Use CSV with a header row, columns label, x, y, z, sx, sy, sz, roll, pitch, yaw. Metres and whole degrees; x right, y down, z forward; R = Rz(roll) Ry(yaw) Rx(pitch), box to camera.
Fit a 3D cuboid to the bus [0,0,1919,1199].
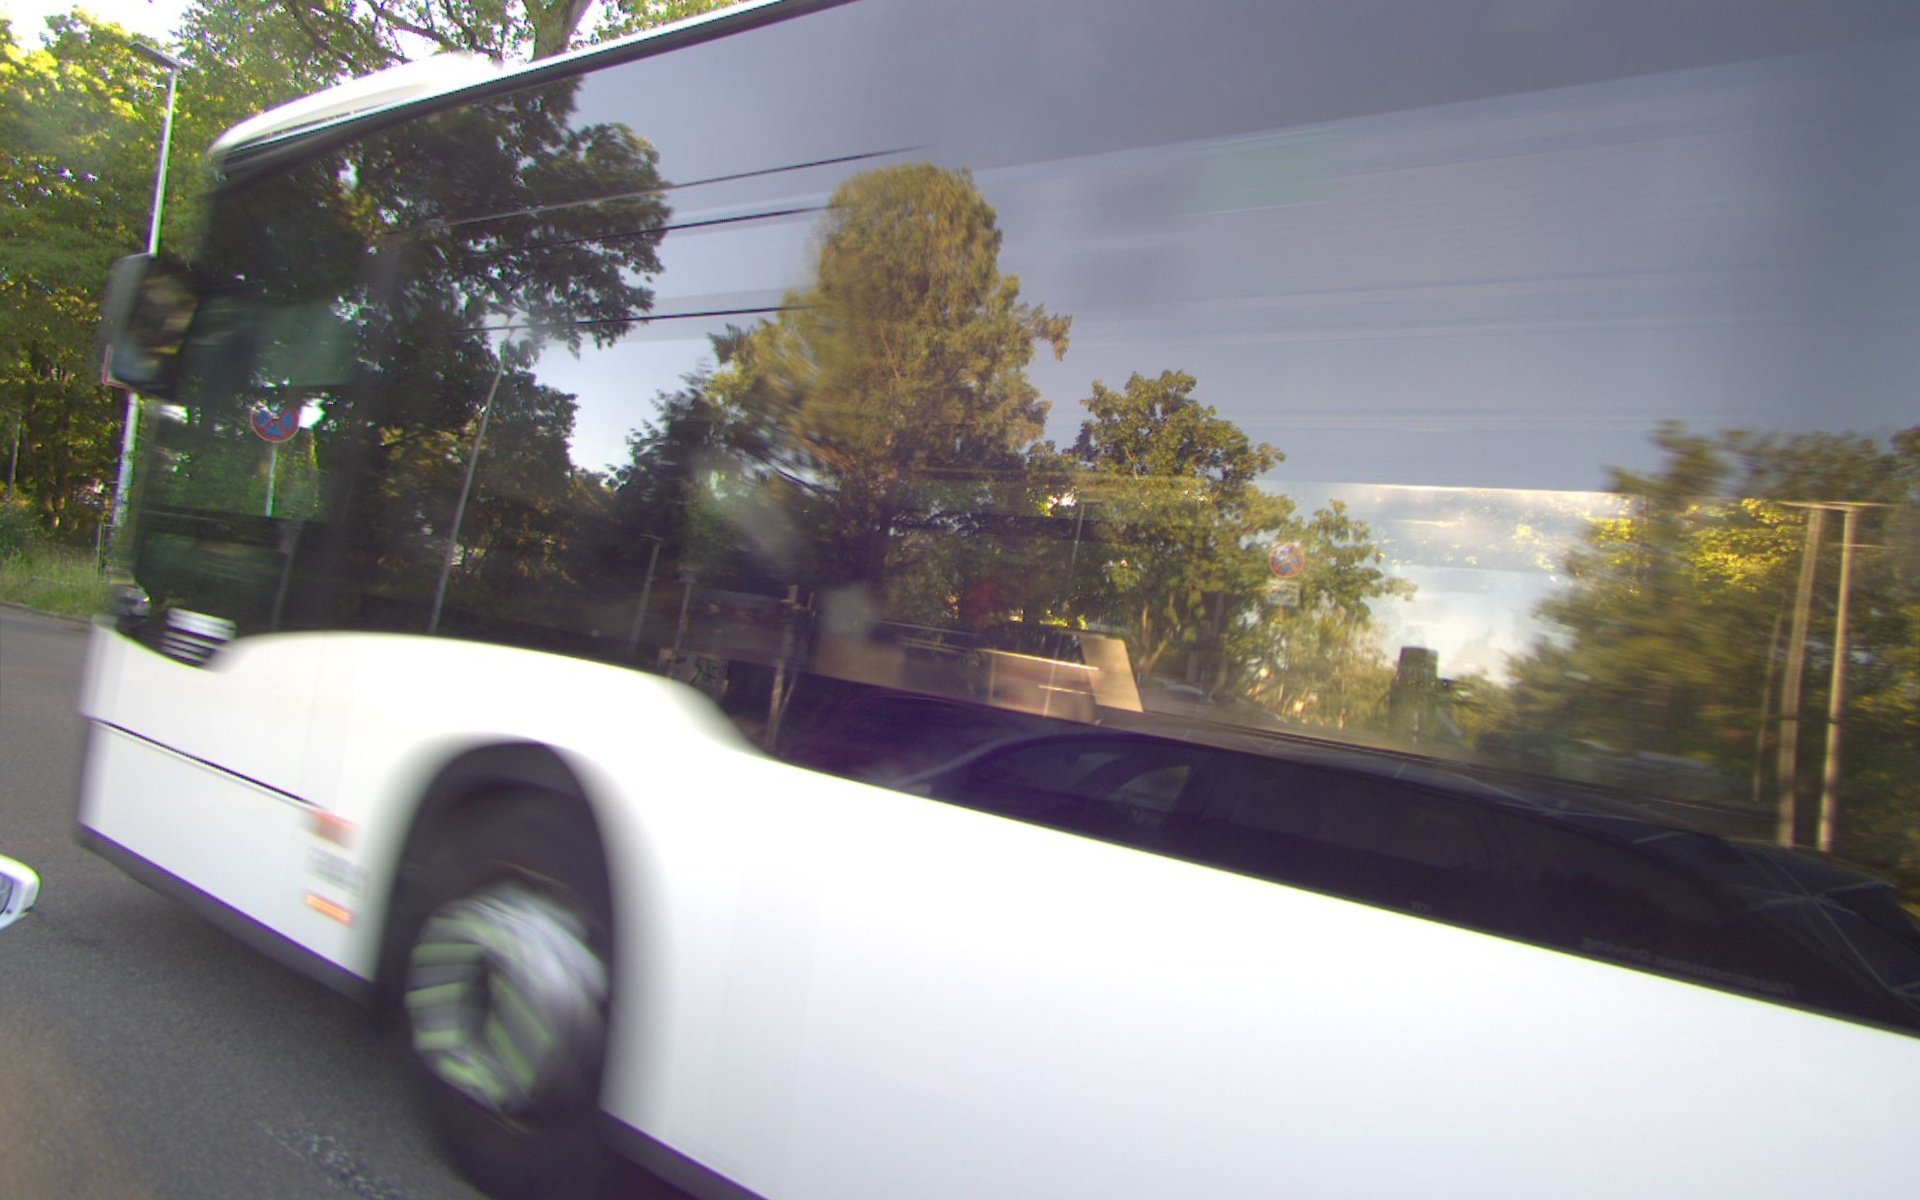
label,x,y,z,sx,sy,sz,roll,pitch,yaw
bus,2.359,0.262,1.832,12.066,3.120,3.020,6,-3,32
